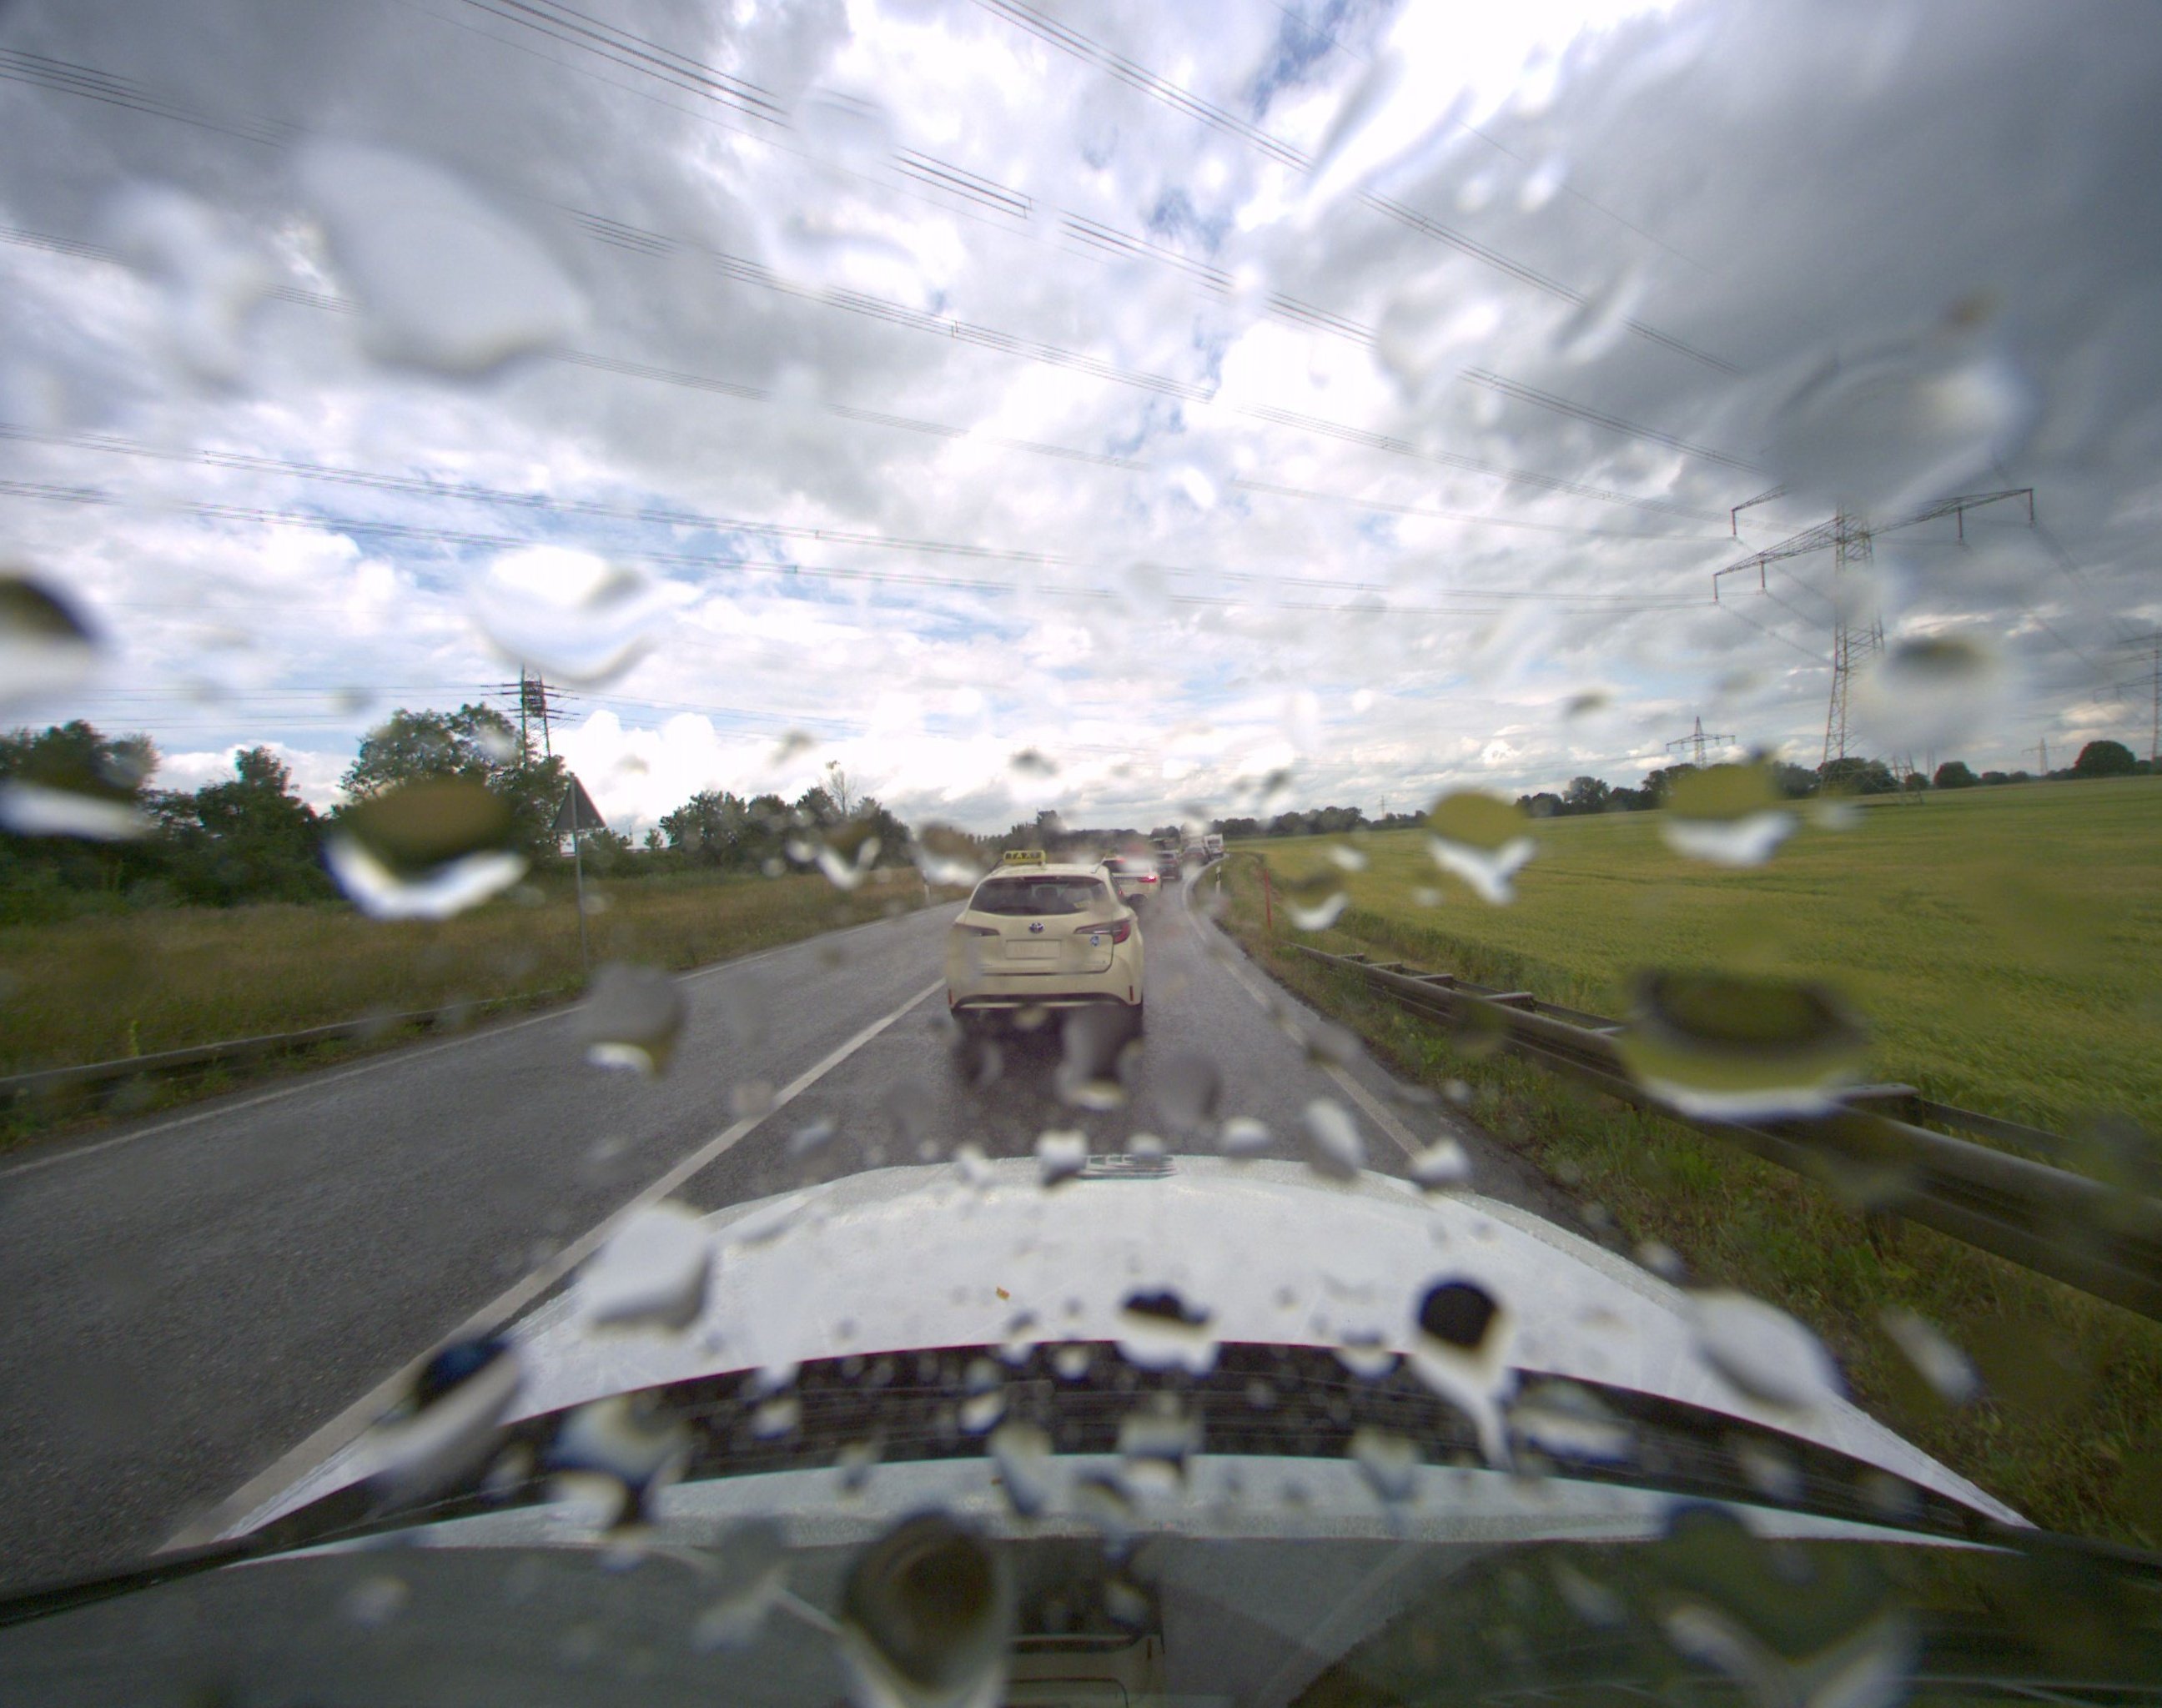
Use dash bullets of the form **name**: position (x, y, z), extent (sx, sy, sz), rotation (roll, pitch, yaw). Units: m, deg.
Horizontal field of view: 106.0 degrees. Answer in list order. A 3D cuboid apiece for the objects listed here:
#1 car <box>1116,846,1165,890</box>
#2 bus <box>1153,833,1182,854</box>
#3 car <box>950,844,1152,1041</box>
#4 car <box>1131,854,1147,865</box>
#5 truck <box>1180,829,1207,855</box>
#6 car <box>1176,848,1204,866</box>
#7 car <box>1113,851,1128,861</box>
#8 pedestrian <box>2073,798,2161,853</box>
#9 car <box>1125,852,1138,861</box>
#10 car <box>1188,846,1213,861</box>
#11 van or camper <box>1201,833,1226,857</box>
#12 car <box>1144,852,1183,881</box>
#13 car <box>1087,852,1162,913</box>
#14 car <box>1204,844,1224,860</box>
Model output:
- **car**: position (2.432, 0.551, 32.655), extent (1.603, 1.659, 3.748), rotation (-1, -1, 9)
- **bus**: position (14.091, -1.672, 134.221), extent (2.752, 3.297, 12.487), rotation (-1, 0, -3)
- **car**: position (-0.185, 0.739, 8.412), extent (1.607, 1.562, 3.739), rotation (-1, -1, 2)
- **car**: position (11.069, 0.977, 154.899), extent (1.995, 2.014, 4.133), rotation (-1, -1, -13)
- **truck**: position (18.192, -1.878, 132.278), extent (3.118, 3.852, 7.382), rotation (-1, -1, -1)
- **car**: position (8.841, 0.255, 65.721), extent (1.947, 1.413, 4.405), rotation (-1, -1, 10)
- **car**: position (8.287, 0.353, 170.853), extent (1.998, 2.014, 3.976), rotation (0, -1, -17)
- **pedestrian**: position (41.165, -1.072, 30.936), extent (1.989, 2.014, 3.996), rotation (-1, -1, -2)
- **car**: position (10.790, 0.455, 174.429), extent (1.841, 1.859, 4.072), rotation (-1, -1, -12)
- **car**: position (11.545, -0.050, 78.563), extent (1.811, 1.413, 3.754), rotation (-1, -1, 16)
- **van or camper**: position (16.972, -1.134, 104.617), extent (2.525, 2.896, 6.751), rotation (-1, 0, 4)
- **car**: position (4.316, 0.628, 42.026), extent (1.602, 1.413, 3.750), rotation (-1, -1, 12)
- **car**: position (1.315, 0.713, 22.682), extent (1.832, 1.492, 4.616), rotation (-1, 0, 6)
- **car**: position (14.593, -0.214, 89.227), extent (1.946, 1.729, 3.751), rotation (-1, -1, 13)
